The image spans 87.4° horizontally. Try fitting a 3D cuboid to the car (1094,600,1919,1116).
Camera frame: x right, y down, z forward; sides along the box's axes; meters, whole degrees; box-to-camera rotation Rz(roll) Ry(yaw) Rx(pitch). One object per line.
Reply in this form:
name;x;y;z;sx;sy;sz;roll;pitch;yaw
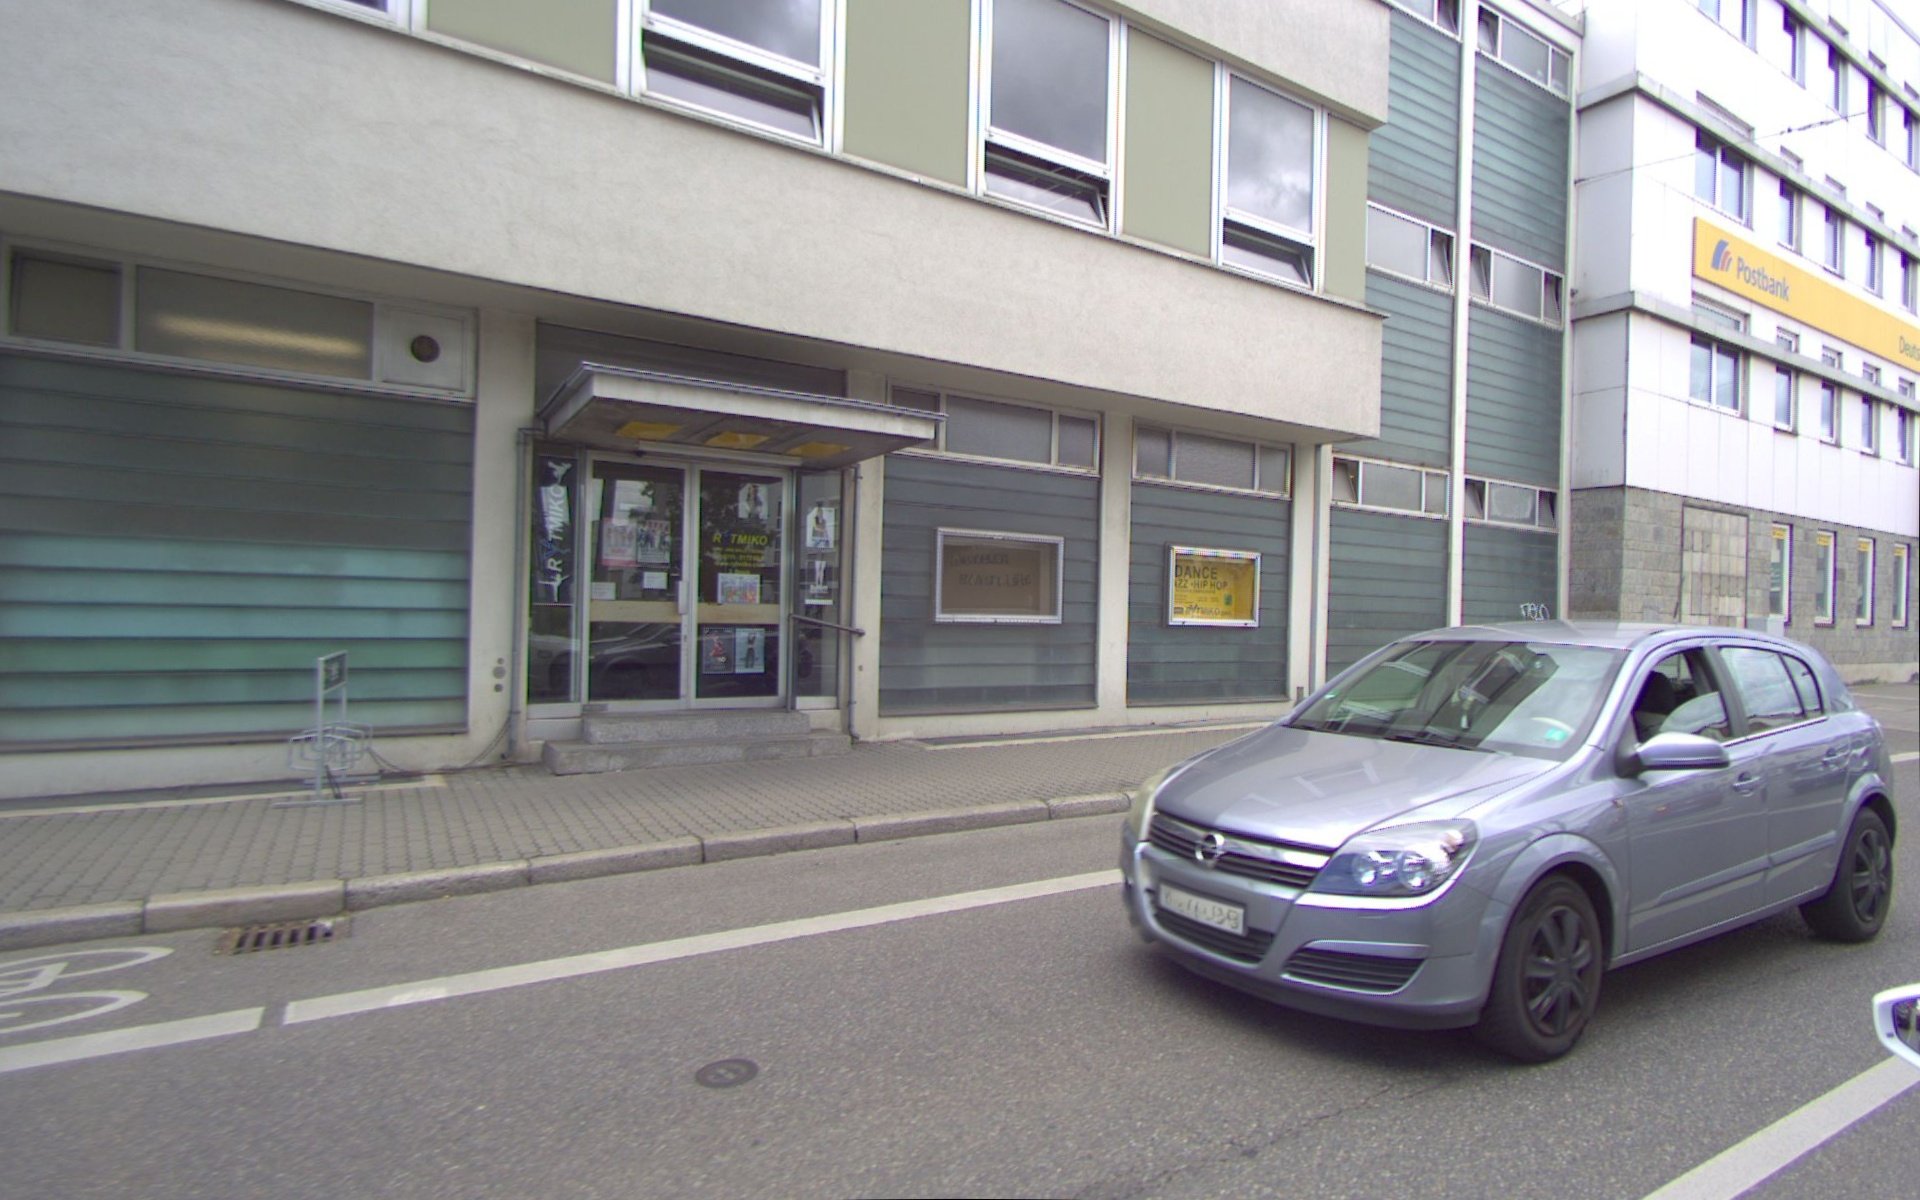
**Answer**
car;2.652;0.786;4.620;3.875;1.485;1.649;1;-1;-31
